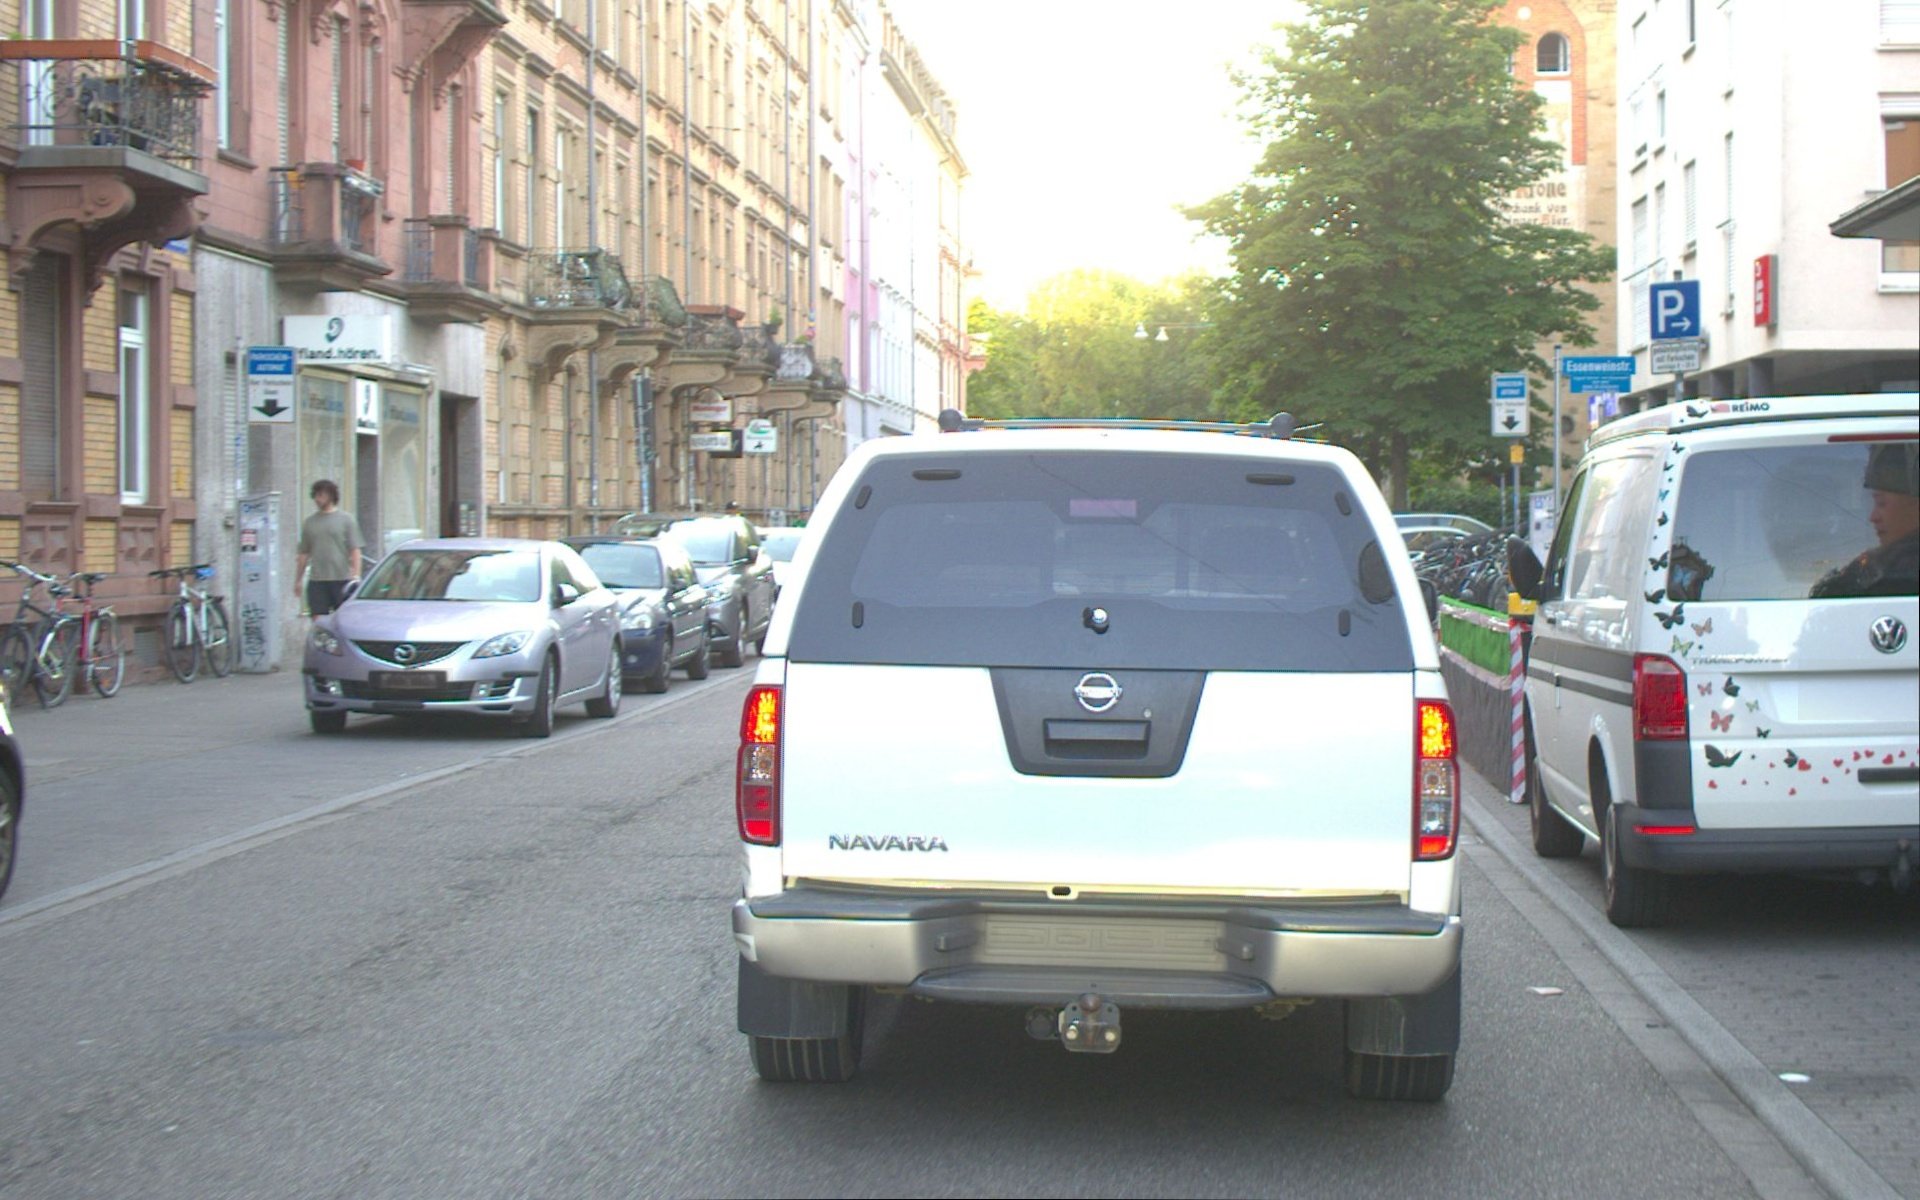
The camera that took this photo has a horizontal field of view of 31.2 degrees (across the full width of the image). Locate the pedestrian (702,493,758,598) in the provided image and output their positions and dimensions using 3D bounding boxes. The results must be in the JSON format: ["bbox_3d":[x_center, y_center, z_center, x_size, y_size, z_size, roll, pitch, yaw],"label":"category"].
[{"bbox_3d":[-3.857,-0.907,57.706,0.554,1.749,1.021,1,0,20],"label":"pedestrian"}]

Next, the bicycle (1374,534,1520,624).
[{"bbox_3d":[6.419,-0.280,45.367,1.809,1.114,0.707,-2,0,3],"label":"bicycle"}]

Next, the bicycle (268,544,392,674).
[{"bbox_3d":[-5.978,0.077,32.557,0.708,1.192,1.742,1,0,-26],"label":"bicycle"}]

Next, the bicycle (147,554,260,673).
[{"bbox_3d":[-6.987,0.109,31.812,0.449,1.019,1.848,3,2,4],"label":"bicycle"}]

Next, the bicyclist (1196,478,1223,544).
[{"bbox_3d":[6.704,-2.383,92.460,0.645,1.754,0.648,-2,1,2],"label":"bicyclist"}]

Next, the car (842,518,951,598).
[{"bbox_3d":[-1.181,-0.820,65.744,1.784,1.418,4.485,2,1,2],"label":"car"}]

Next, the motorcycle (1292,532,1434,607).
[{"bbox_3d":[6.261,-0.474,53.458,2.057,1.074,0.664,-2,1,-11],"label":"motorcycle"}]

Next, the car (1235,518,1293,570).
[{"bbox_3d":[9.453,-1.751,106.773,1.676,1.496,3.900,-3,1,6],"label":"car"}]

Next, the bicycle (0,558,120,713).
[{"bbox_3d":[-7.168,0.258,26.999,0.549,1.119,1.759,3,2,4],"label":"bicycle"}]

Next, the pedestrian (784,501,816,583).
[{"bbox_3d":[-3.515,-1.285,75.719,0.580,1.765,0.998,3,2,0],"label":"pedestrian"}]

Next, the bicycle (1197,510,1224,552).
[{"bbox_3d":[6.731,-1.860,92.509,0.645,1.077,1.832,-2,1,2],"label":"bicycle"}]

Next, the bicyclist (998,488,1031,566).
[{"bbox_3d":[1.150,-1.550,73.105,0.645,1.615,0.918,-2,1,0],"label":"bicyclist"}]

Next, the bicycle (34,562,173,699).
[{"bbox_3d":[-7.061,0.235,28.397,0.549,1.034,1.759,3,2,4],"label":"bicycle"}]

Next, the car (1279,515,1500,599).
[{"bbox_3d":[8.140,-0.831,65.380,3.987,1.451,1.828,-2,1,2],"label":"car"}]

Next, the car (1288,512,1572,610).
[{"bbox_3d":[7.821,-0.660,57.450,4.422,1.450,1.780,-2,1,-2],"label":"car"}]

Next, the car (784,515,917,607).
[{"bbox_3d":[-1.810,-0.687,57.949,1.717,1.452,4.000,2,2,5],"label":"car"}]

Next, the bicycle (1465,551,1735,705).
[{"bbox_3d":[4.914,0.226,26.477,1.943,1.131,0.656,-2,1,41],"label":"bicycle"}]

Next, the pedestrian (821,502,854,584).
[{"bbox_3d":[-2.704,-1.257,75.907,0.605,1.766,0.777,3,2,0],"label":"pedestrian"}]

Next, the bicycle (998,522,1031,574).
[{"bbox_3d":[1.161,-1.111,73.101,0.645,1.077,2.169,-2,1,0],"label":"bicycle"}]

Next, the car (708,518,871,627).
[{"bbox_3d":[-2.353,-0.421,48.438,1.758,1.407,4.508,1,2,4],"label":"car"}]

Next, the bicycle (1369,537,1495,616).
[{"bbox_3d":[6.822,-0.342,49.723,1.720,1.028,0.667,-4,0,7],"label":"bicycle"}]

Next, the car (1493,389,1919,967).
[{"bbox_3d":[3.438,0.186,14.344,1.959,1.967,5.002,-2,2,4],"label":"car"}]

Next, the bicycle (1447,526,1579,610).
[{"bbox_3d":[7.788,-0.449,48.421,1.722,1.114,0.653,-2,0,1],"label":"bicycle"}]

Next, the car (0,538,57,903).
[{"bbox_3d":[-4.736,0.498,12.149,1.694,1.415,3.854,1,2,7],"label":"car"}]

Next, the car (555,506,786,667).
[{"bbox_3d":[-3.117,-0.206,37.871,1.853,1.628,4.445,1,2,4],"label":"car"}]

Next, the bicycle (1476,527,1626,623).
[{"bbox_3d":[7.421,-0.317,43.207,1.722,1.128,0.579,-2,0,-7],"label":"bicycle"}]

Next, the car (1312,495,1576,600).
[{"bbox_3d":[8.427,-0.918,60.171,4.399,1.642,1.746,-2,1,4],"label":"car"}]

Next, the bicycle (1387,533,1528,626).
[{"bbox_3d":[6.317,-0.267,43.720,1.723,1.114,0.707,-2,0,7],"label":"bicycle"}]

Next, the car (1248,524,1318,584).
[{"bbox_3d":[8.449,-1.223,90.172,1.676,1.424,4.477,-4,1,5],"label":"car"}]

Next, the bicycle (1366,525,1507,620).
[{"bbox_3d":[6.586,-0.380,47.521,1.789,1.178,0.733,-4,0,15],"label":"bicycle"}]

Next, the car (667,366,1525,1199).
[{"bbox_3d":[0.562,0.335,10.490,1.911,1.846,5.270,2,2,6],"label":"car"}]

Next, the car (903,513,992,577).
[{"bbox_3d":[-0.263,-1.269,80.092,1.737,1.413,4.778,2,1,3],"label":"car"}]

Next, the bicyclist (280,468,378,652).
[{"bbox_3d":[-5.984,-0.374,32.581,0.708,1.724,0.843,1,0,-26],"label":"bicyclist"}]

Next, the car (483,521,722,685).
[{"bbox_3d":[-3.332,-0.016,32.640,1.585,1.415,3.696,1,2,5],"label":"car"}]

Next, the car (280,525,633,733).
[{"bbox_3d":[-3.740,0.159,26.324,1.723,1.416,4.581,1,1,4],"label":"car"}]

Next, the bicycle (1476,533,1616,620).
[{"bbox_3d":[7.528,-0.300,44.227,1.723,1.050,0.653,-2,0,8],"label":"bicycle"}]

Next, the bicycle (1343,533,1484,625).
[{"bbox_3d":[5.874,-0.274,44.617,1.722,1.114,0.707,-2,0,3],"label":"bicycle"}]

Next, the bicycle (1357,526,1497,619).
[{"bbox_3d":[6.577,-0.385,48.367,1.870,1.178,0.742,-4,0,9],"label":"bicycle"}]
